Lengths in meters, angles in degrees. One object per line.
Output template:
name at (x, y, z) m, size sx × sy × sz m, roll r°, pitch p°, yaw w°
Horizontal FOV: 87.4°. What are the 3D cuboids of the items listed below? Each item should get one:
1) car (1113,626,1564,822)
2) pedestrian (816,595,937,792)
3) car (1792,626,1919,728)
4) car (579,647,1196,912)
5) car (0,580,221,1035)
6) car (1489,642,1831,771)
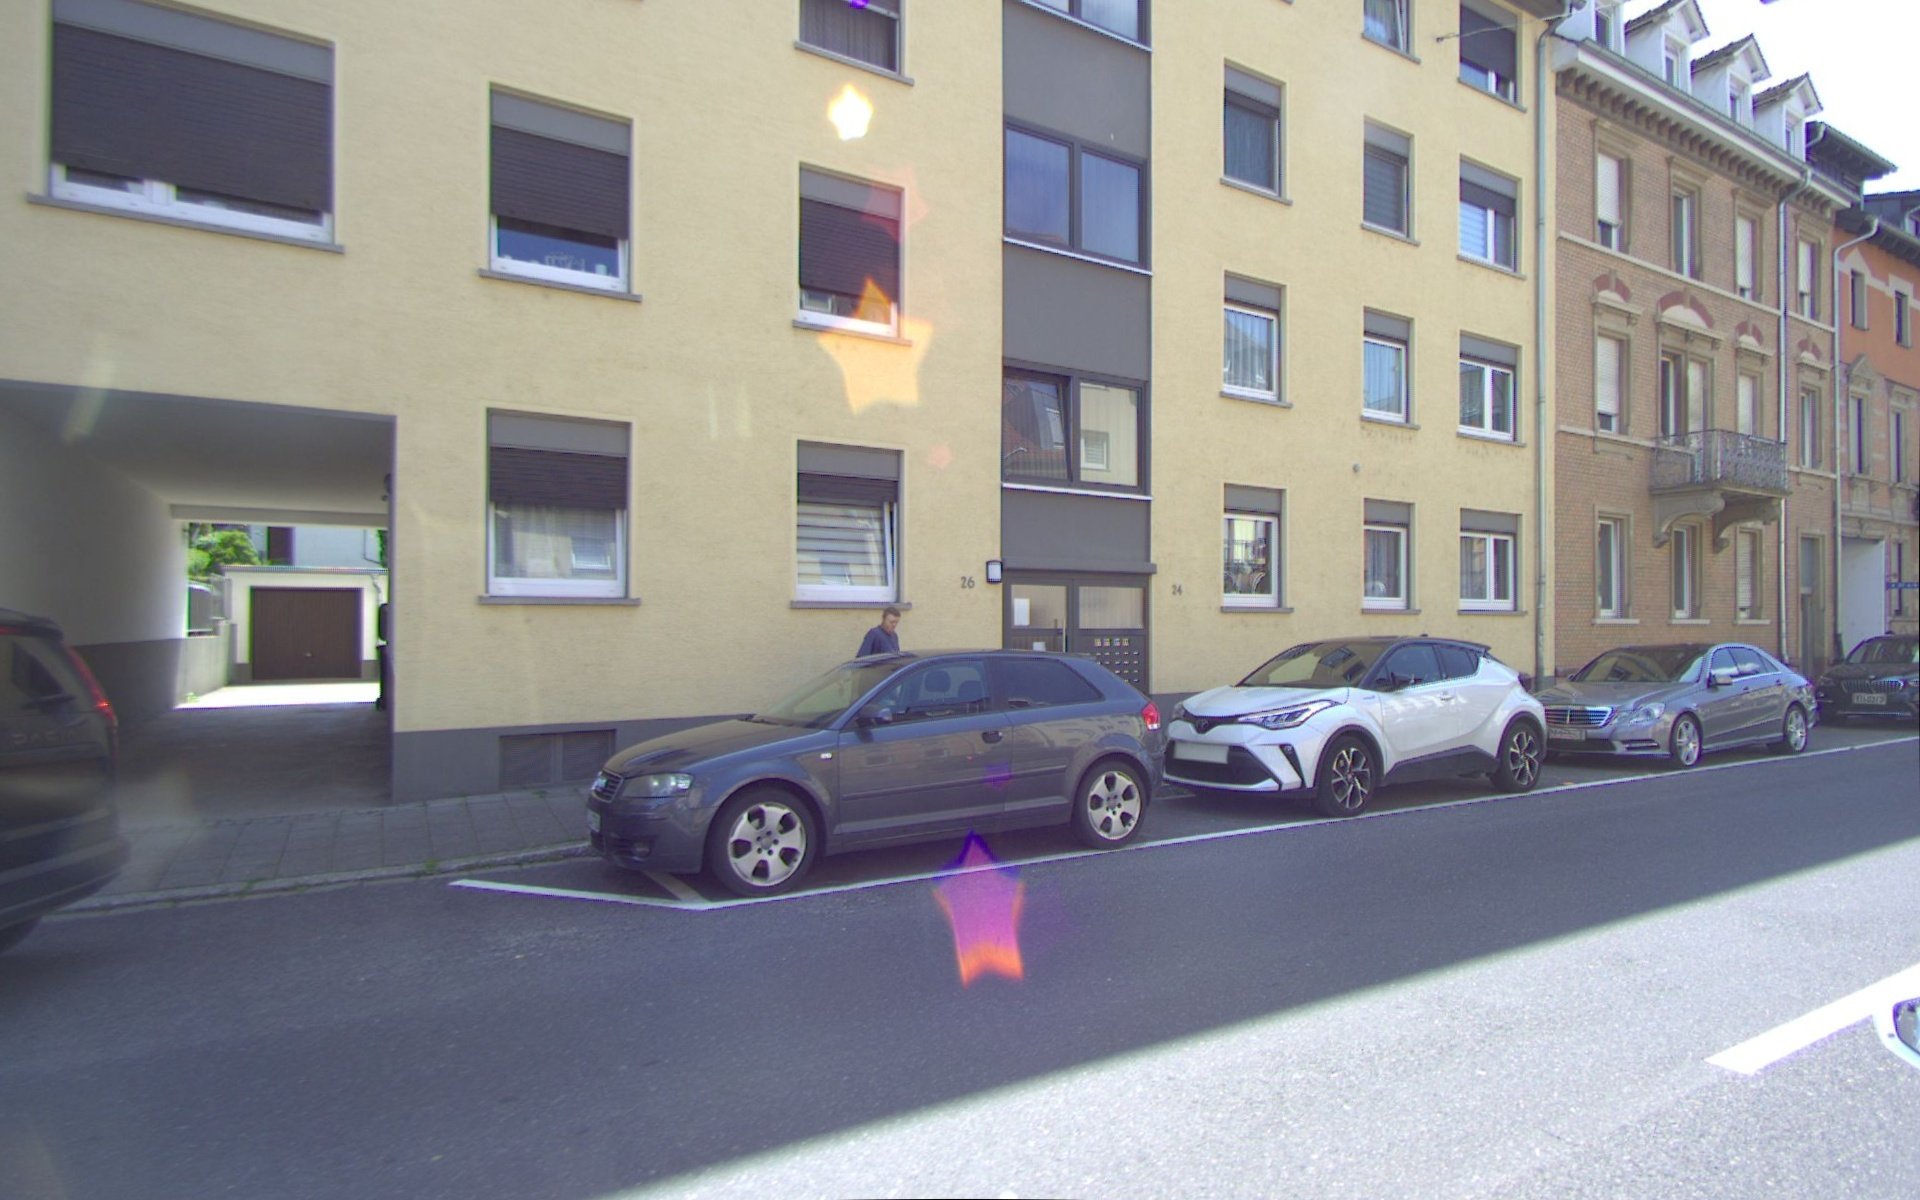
car at (3.756, 1.064, 9.811) m, size 4.253 × 1.530 × 1.895 m, roll 1°, pitch -3°, yaw -31°
pedestrian at (-0.832, 0.861, 9.759) m, size 0.954 × 1.773 × 1.151 m, roll 1°, pitch -1°, yaw -17°
car at (16.944, 1.329, 17.974) m, size 4.254 × 1.641 × 1.895 m, roll 1°, pitch -3°, yaw -32°
car at (-0.461, 1.052, 7.218) m, size 4.014 × 1.397 × 1.896 m, roll 1°, pitch -3°, yaw -31°
car at (-5.822, 0.783, 3.759) m, size 4.480 × 1.659 × 1.906 m, roll 0°, pitch -3°, yaw -14°
car at (9.207, 1.274, 13.119) m, size 4.700 × 1.419 × 1.896 m, roll 1°, pitch -3°, yaw -31°
